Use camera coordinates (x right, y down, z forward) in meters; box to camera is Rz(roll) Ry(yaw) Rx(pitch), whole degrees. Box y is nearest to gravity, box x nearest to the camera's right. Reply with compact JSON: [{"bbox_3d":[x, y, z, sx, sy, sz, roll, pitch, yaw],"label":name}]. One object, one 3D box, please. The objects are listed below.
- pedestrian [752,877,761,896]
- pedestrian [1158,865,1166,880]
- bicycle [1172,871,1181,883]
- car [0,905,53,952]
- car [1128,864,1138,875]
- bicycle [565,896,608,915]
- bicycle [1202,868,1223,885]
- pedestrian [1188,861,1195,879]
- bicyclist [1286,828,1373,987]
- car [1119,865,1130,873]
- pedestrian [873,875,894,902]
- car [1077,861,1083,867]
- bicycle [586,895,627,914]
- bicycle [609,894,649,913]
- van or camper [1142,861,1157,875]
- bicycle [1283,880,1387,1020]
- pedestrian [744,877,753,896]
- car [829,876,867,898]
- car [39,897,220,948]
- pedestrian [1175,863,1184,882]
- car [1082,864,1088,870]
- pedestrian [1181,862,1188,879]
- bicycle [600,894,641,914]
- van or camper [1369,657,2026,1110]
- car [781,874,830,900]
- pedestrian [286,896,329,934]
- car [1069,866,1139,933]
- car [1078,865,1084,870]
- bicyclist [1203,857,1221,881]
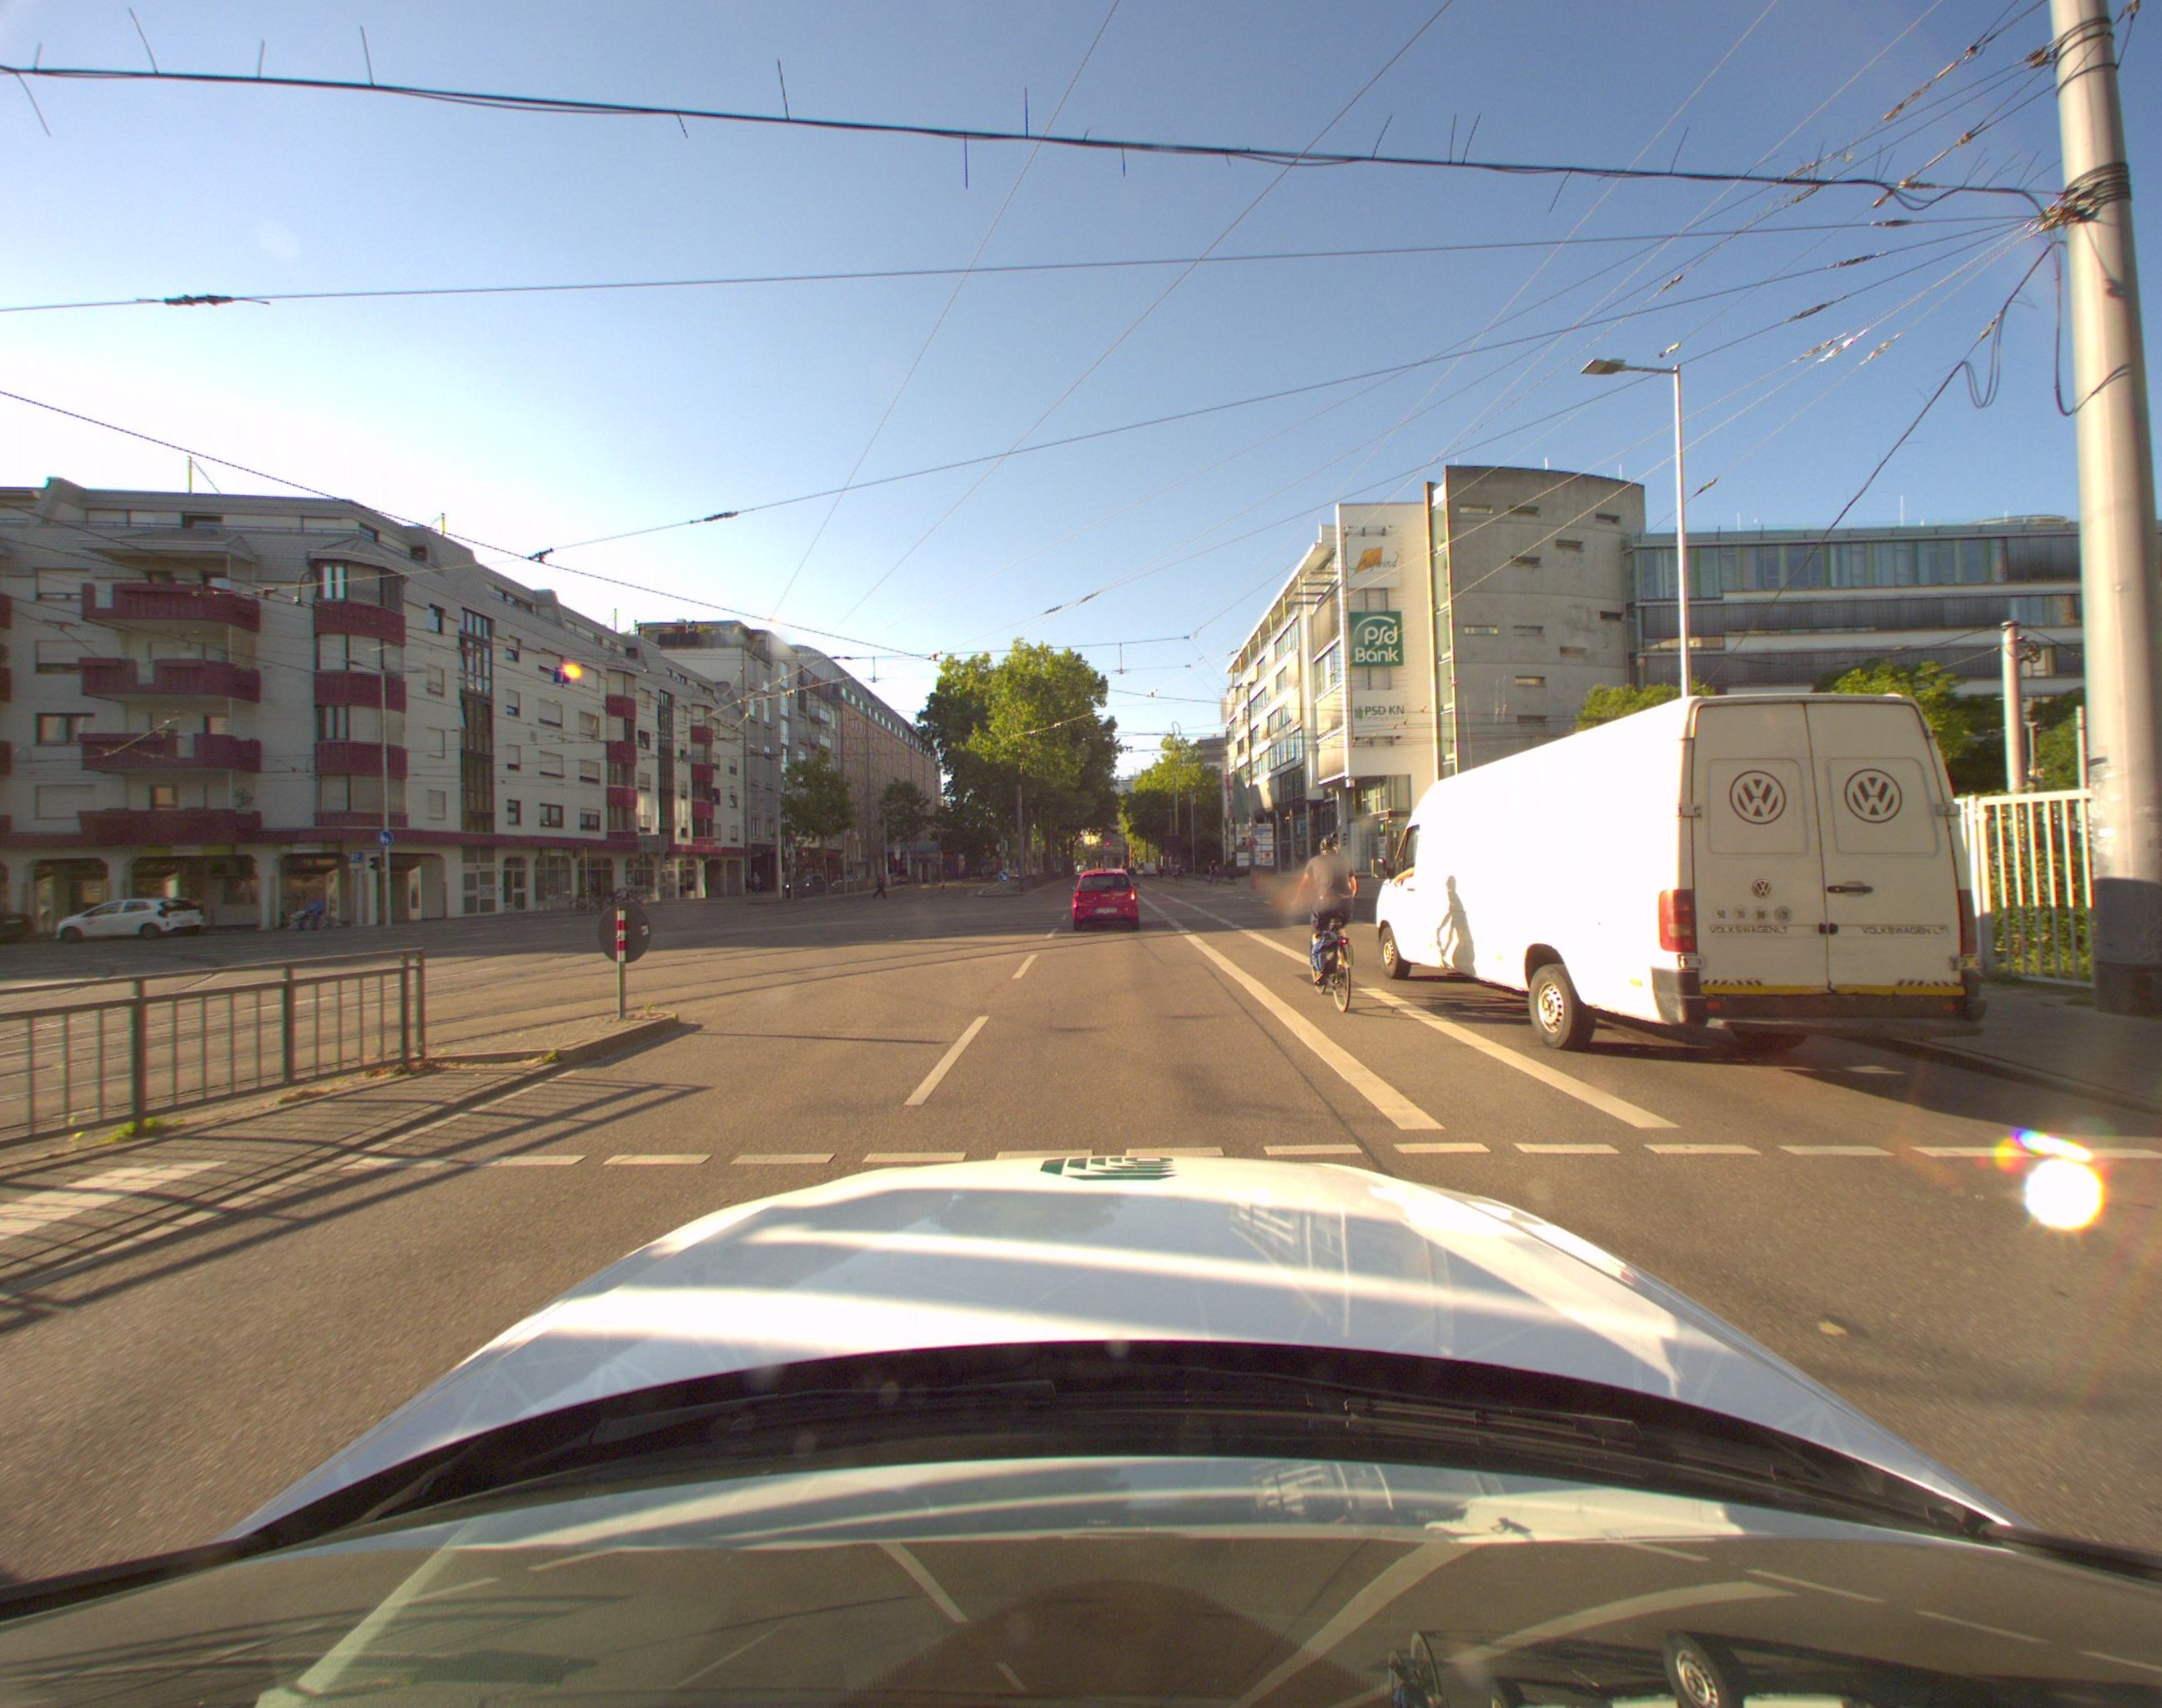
[{"bbox_3d":[-26.903,2.701,67.529,0.533,1.494,0.587,-2,-1,-2],"label":"pedestrian"},{"bbox_3d":[9.310,2.138,94.064,0.640,1.579,0.722,-5,-1,-4],"label":"pedestrian"},{"bbox_3d":[8.897,2.150,75.979,0.519,0.975,2.202,-5,0,2],"label":"bicycle"},{"bbox_3d":[-40.265,2.753,29.091,4.107,1.555,1.995,-2,-1,-8],"label":"car"},{"bbox_3d":[8.988,2.590,139.740,1.629,1.800,3.332,-2,-1,3],"label":"car"},{"bbox_3d":[-25.212,2.636,41.509,1.835,0.854,0.554,-2,-1,3],"label":"bicycle"},{"bbox_3d":[9.263,1.603,57.591,0.698,1.098,1.741,-5,0,-16],"label":"bicycle"},{"bbox_3d":[11.709,1.671,86.270,0.539,1.796,0.906,-5,-1,-1],"label":"pedestrian"},{"bbox_3d":[2.663,0.548,8.842,0.647,1.603,1.090,-2,-1,6],"label":"bicyclist"},{"bbox_3d":[8.703,2.999,164.361,1.774,1.535,3.507,-1,-1,-4],"label":"car"},{"bbox_3d":[-11.756,2.057,48.490,1.041,1.544,0.695,-2,-1,5],"label":"pedestrian"},{"bbox_3d":[-0.305,3.154,258.761,1.774,1.588,3.407,-1,-1,-4],"label":"car"},{"bbox_3d":[-24.599,2.618,42.230,1.835,0.854,0.554,-2,-1,3],"label":"bicycle"},{"bbox_3d":[-24.470,2.677,44.110,1.838,0.985,0.553,-2,-1,-2],"label":"bicycle"},{"bbox_3d":[10.144,2.087,120.972,1.986,1.989,4.747,-2,-1,2],"label":"van or camper"},{"bbox_3d":[2.686,0.957,8.826,0.647,1.281,1.969,-2,-1,6],"label":"bicycle"},{"bbox_3d":[-27.523,2.706,67.399,0.533,1.494,0.587,-2,-1,-2],"label":"pedestrian"},{"bbox_3d":[-19.772,2.785,69.253,1.948,1.595,4.260,-2,-1,1],"label":"car"},{"bbox_3d":[-34.942,2.492,30.020,3.984,1.555,1.995,-2,-1,-8],"label":"car"},{"bbox_3d":[9.171,1.736,75.892,0.644,1.680,0.651,-2,-1,0],"label":"pedestrian"},{"bbox_3d":[1.169,3.914,246.127,1.774,1.535,3.407,-1,-1,-4],"label":"car"},{"bbox_3d":[11.023,1.762,86.697,0.562,1.702,0.906,-5,-1,-1],"label":"pedestrian"},{"bbox_3d":[-24.601,2.656,43.503,1.838,0.985,0.553,-2,-1,-2],"label":"bicycle"},{"bbox_3d":[4.831,0.207,8.091,1.961,2.716,6.309,-1,-1,3],"label":"van or camper"},{"bbox_3d":[-19.828,2.338,58.771,1.948,1.672,4.260,-2,-1,1],"label":"car"},{"bbox_3d":[-30.247,2.387,31.859,0.856,1.384,0.834,-2,-1,-10],"label":"pedestrian"},{"bbox_3d":[0.584,1.098,20.933,1.607,1.535,3.412,-1,-1,1],"label":"car"},{"bbox_3d":[0.013,4.217,252.728,1.774,1.535,3.407,-1,-1,-4],"label":"car"},{"bbox_3d":[9.251,1.078,57.523,0.723,1.603,1.083,-4,-1,-16],"label":"bicyclist"}]
